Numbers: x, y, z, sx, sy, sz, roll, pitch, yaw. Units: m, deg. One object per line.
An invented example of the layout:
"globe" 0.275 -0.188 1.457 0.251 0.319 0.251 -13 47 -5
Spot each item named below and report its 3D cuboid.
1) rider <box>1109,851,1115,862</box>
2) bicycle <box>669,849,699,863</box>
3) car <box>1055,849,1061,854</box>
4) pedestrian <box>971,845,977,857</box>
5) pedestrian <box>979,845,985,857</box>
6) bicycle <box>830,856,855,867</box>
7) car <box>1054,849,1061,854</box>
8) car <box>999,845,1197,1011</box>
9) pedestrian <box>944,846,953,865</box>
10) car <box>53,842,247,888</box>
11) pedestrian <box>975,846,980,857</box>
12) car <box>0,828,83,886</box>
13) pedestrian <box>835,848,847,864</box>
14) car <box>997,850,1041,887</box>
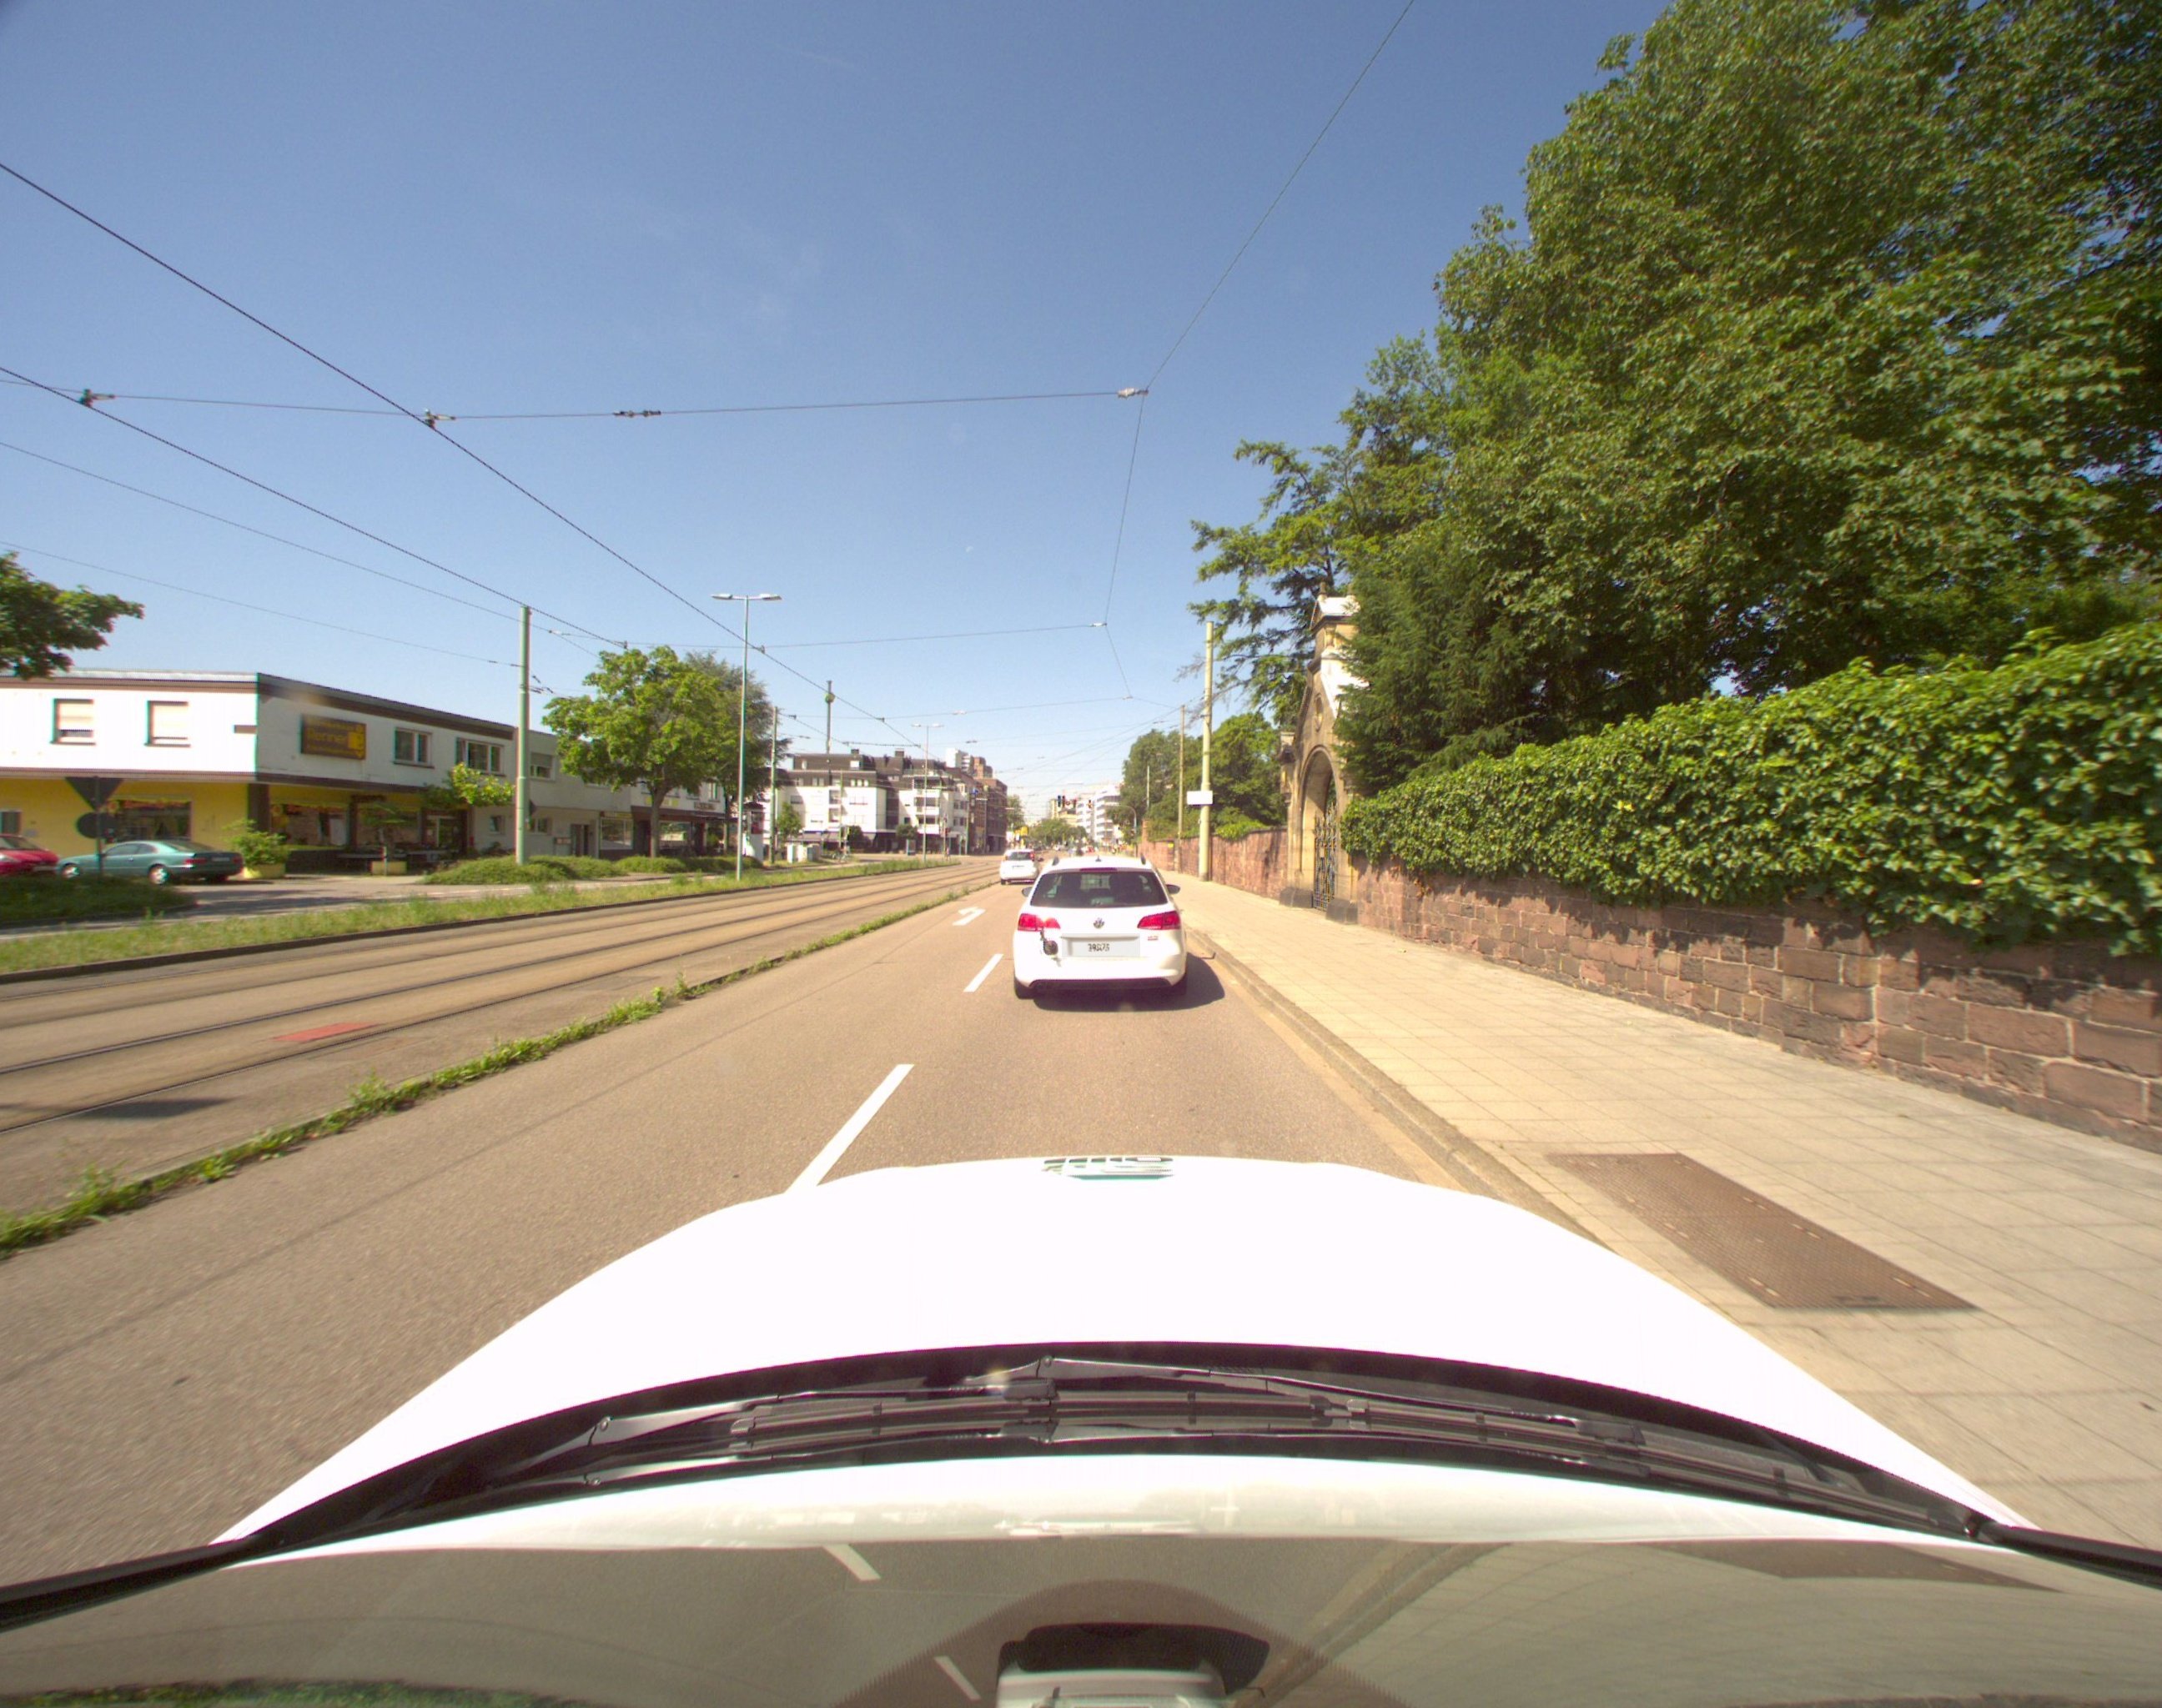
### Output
"rider" 4.786 0.395 127.614 0.888 1.728 2.204 0 0 1
"bicycle" -27.042 0.126 55.513 0.780 0.888 2.392 0 0 1
"car" -6.386 -0.719 225.516 1.693 1.591 3.534 0 0 0
"pedestrian" -18.214 -0.441 138.616 0.934 2.013 0.990 1 0 -3
"pedestrian" -17.452 -0.503 143.804 0.935 2.013 0.989 1 0 -5
"bicycle" -21.340 0.685 72.857 0.546 0.921 2.190 0 0 44
"car" -7.214 -0.762 252.857 1.698 1.591 3.523 1 0 -9
"car" 0.208 0.666 9.334 1.772 1.490 3.848 -1 0 1
"pedestrian" -12.186 0.102 74.973 0.825 1.738 0.930 0 0 -7
"car" -29.048 0.322 25.482 4.132 1.344 1.698 1 0 1
"pedestrian" -18.883 -0.522 148.359 0.935 2.013 0.989 1 0 -4
"car" -34.526 0.064 25.635 4.132 1.735 1.698 1 0 1
"pedestrian" -21.612 0.188 73.390 0.559 1.487 0.821 1 0 44
"car" -2.773 0.595 37.131 1.725 1.596 4.011 0 0 0
